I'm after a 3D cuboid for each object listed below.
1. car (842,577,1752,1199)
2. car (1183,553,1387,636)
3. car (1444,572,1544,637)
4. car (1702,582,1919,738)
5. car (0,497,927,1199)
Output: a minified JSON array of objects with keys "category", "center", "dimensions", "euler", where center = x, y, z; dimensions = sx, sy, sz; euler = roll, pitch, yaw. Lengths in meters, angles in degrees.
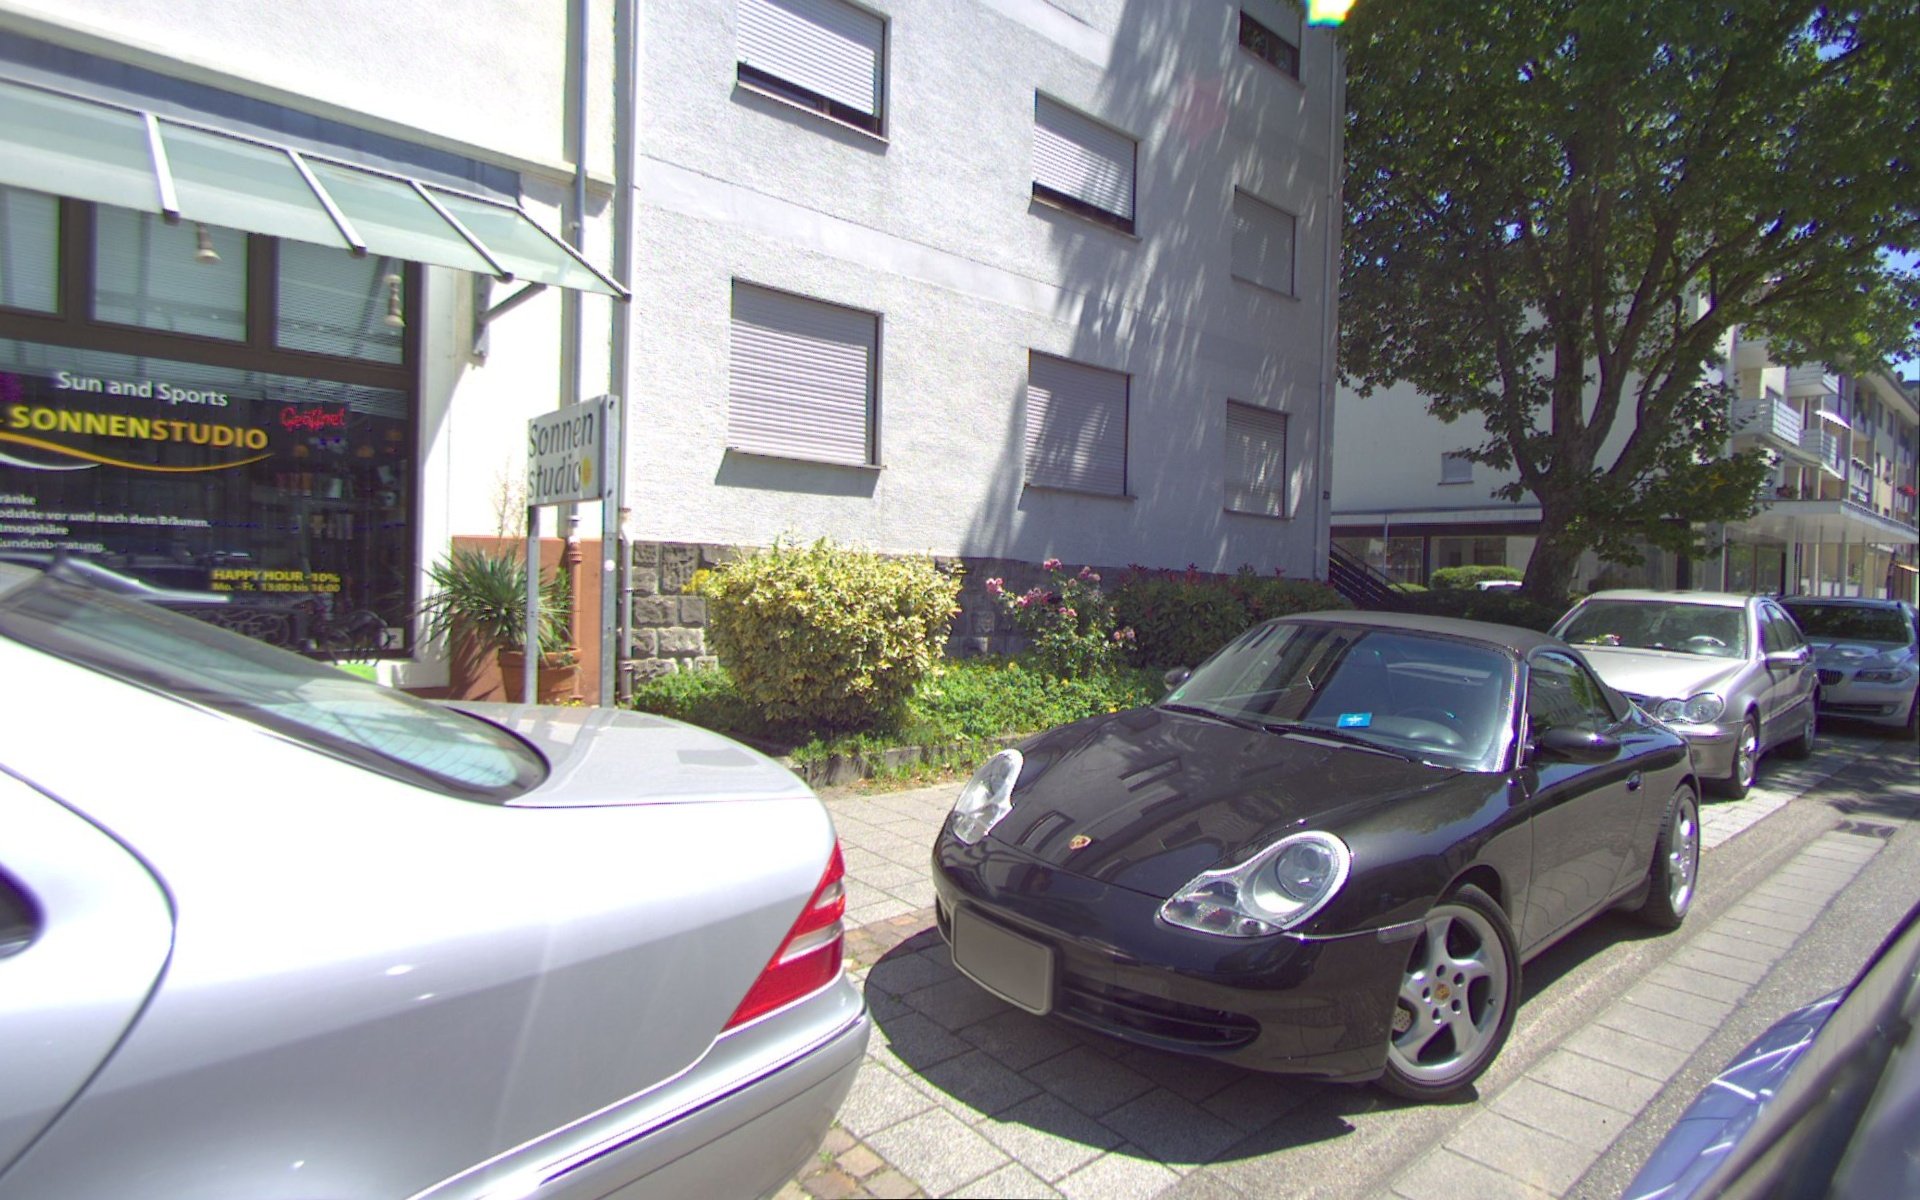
[{"category":"car","center":[1.679,0.638,4.042],"dimensions":[4.101,1.357,1.561],"euler":[0,3,-41]},{"category":"car","center":[6.733,-0.133,20.885],"dimensions":[4.015,1.562,1.693],"euler":[0,2,-29]},{"category":"car","center":[13.815,0.060,26.372],"dimensions":[1.715,1.518,3.443],"euler":[2,2,18]},{"category":"car","center":[10.694,0.582,12.090],"dimensions":[4.674,1.530,1.833],"euler":[0,0,-39]},{"category":"car","center":[-2.447,0.586,0.846],"dimensions":[4.767,1.486,1.748],"euler":[0,4,-41]}]
